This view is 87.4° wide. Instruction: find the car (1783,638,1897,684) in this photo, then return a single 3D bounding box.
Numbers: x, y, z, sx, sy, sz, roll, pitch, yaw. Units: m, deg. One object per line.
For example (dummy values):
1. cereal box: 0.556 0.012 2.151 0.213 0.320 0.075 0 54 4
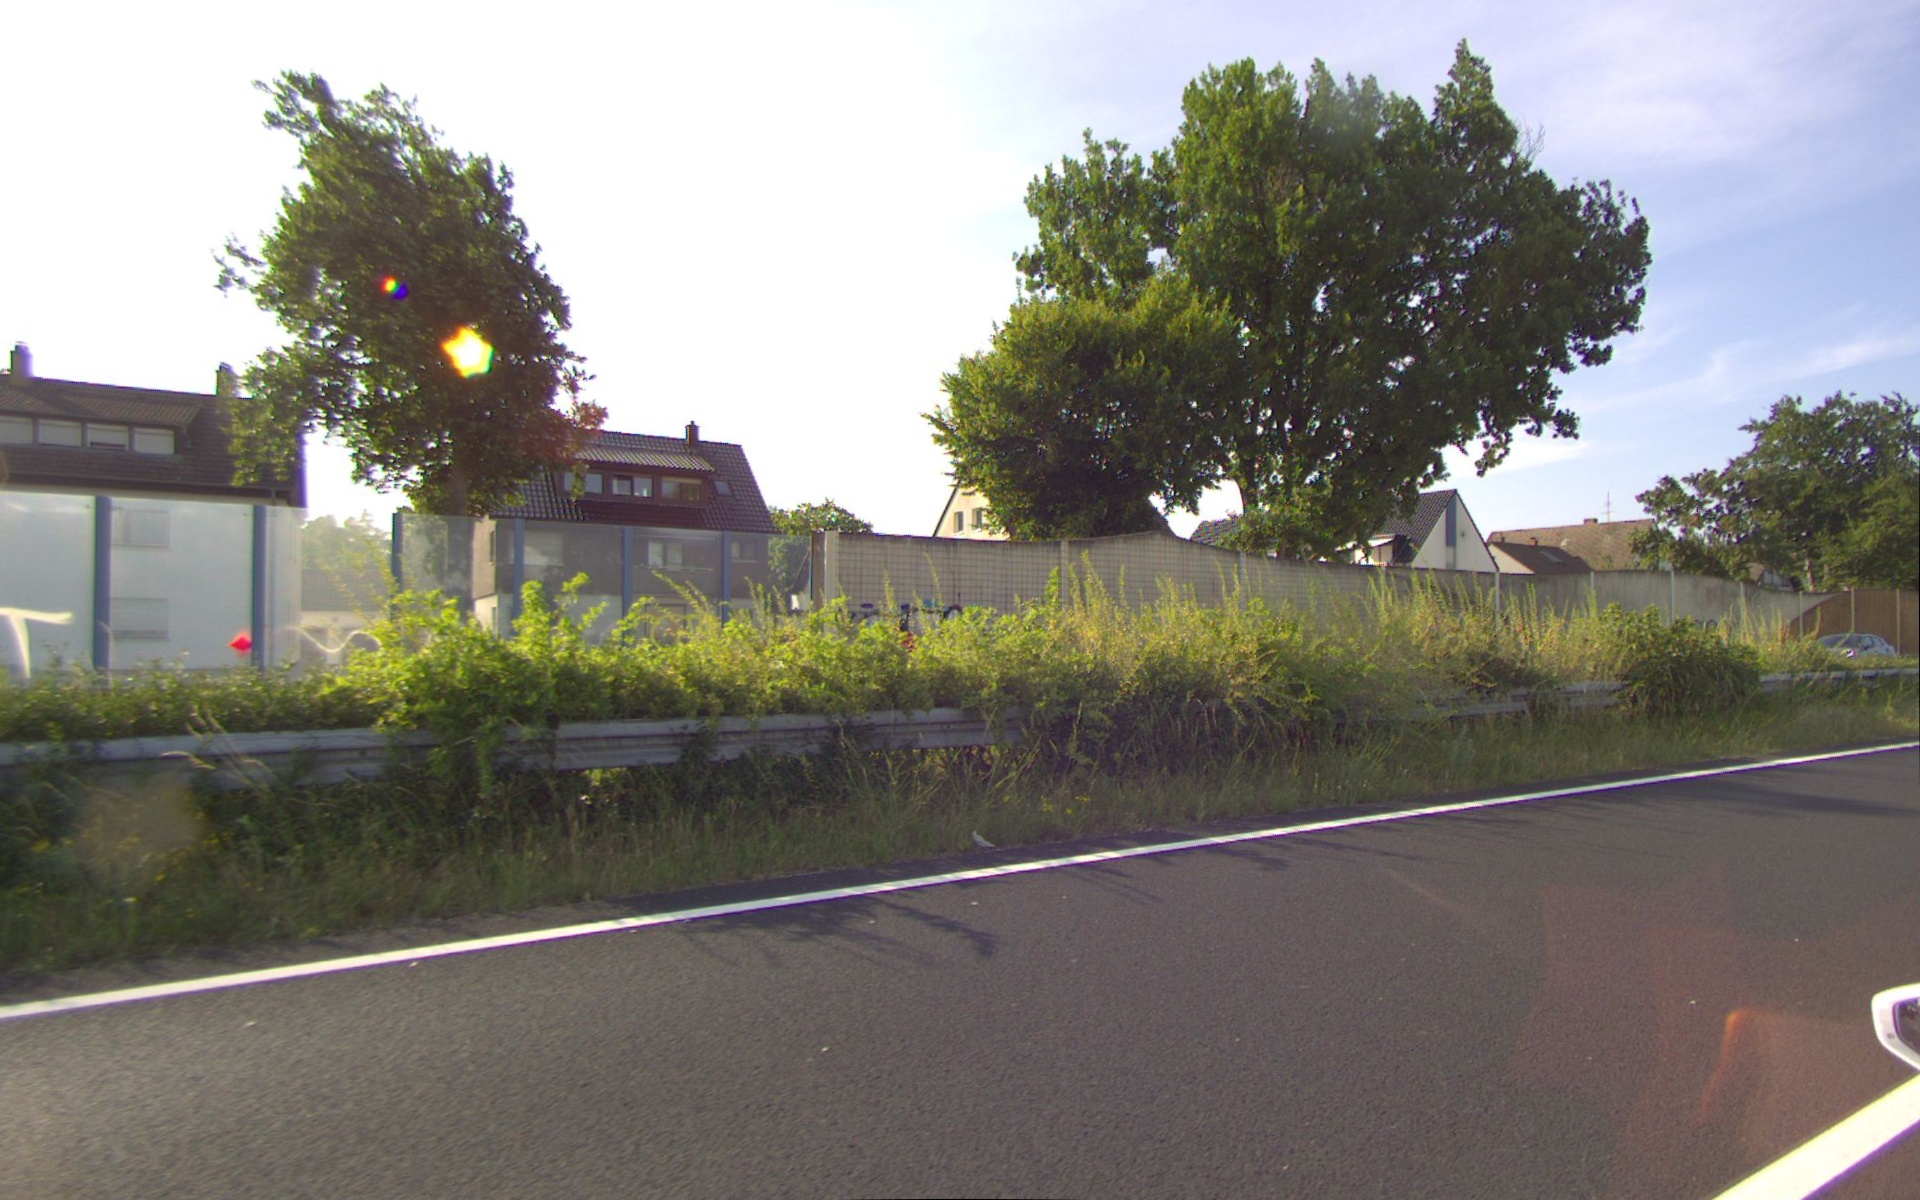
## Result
1. car: 29.523 2.020 33.666 4.240 1.379 1.640 2 1 -31
